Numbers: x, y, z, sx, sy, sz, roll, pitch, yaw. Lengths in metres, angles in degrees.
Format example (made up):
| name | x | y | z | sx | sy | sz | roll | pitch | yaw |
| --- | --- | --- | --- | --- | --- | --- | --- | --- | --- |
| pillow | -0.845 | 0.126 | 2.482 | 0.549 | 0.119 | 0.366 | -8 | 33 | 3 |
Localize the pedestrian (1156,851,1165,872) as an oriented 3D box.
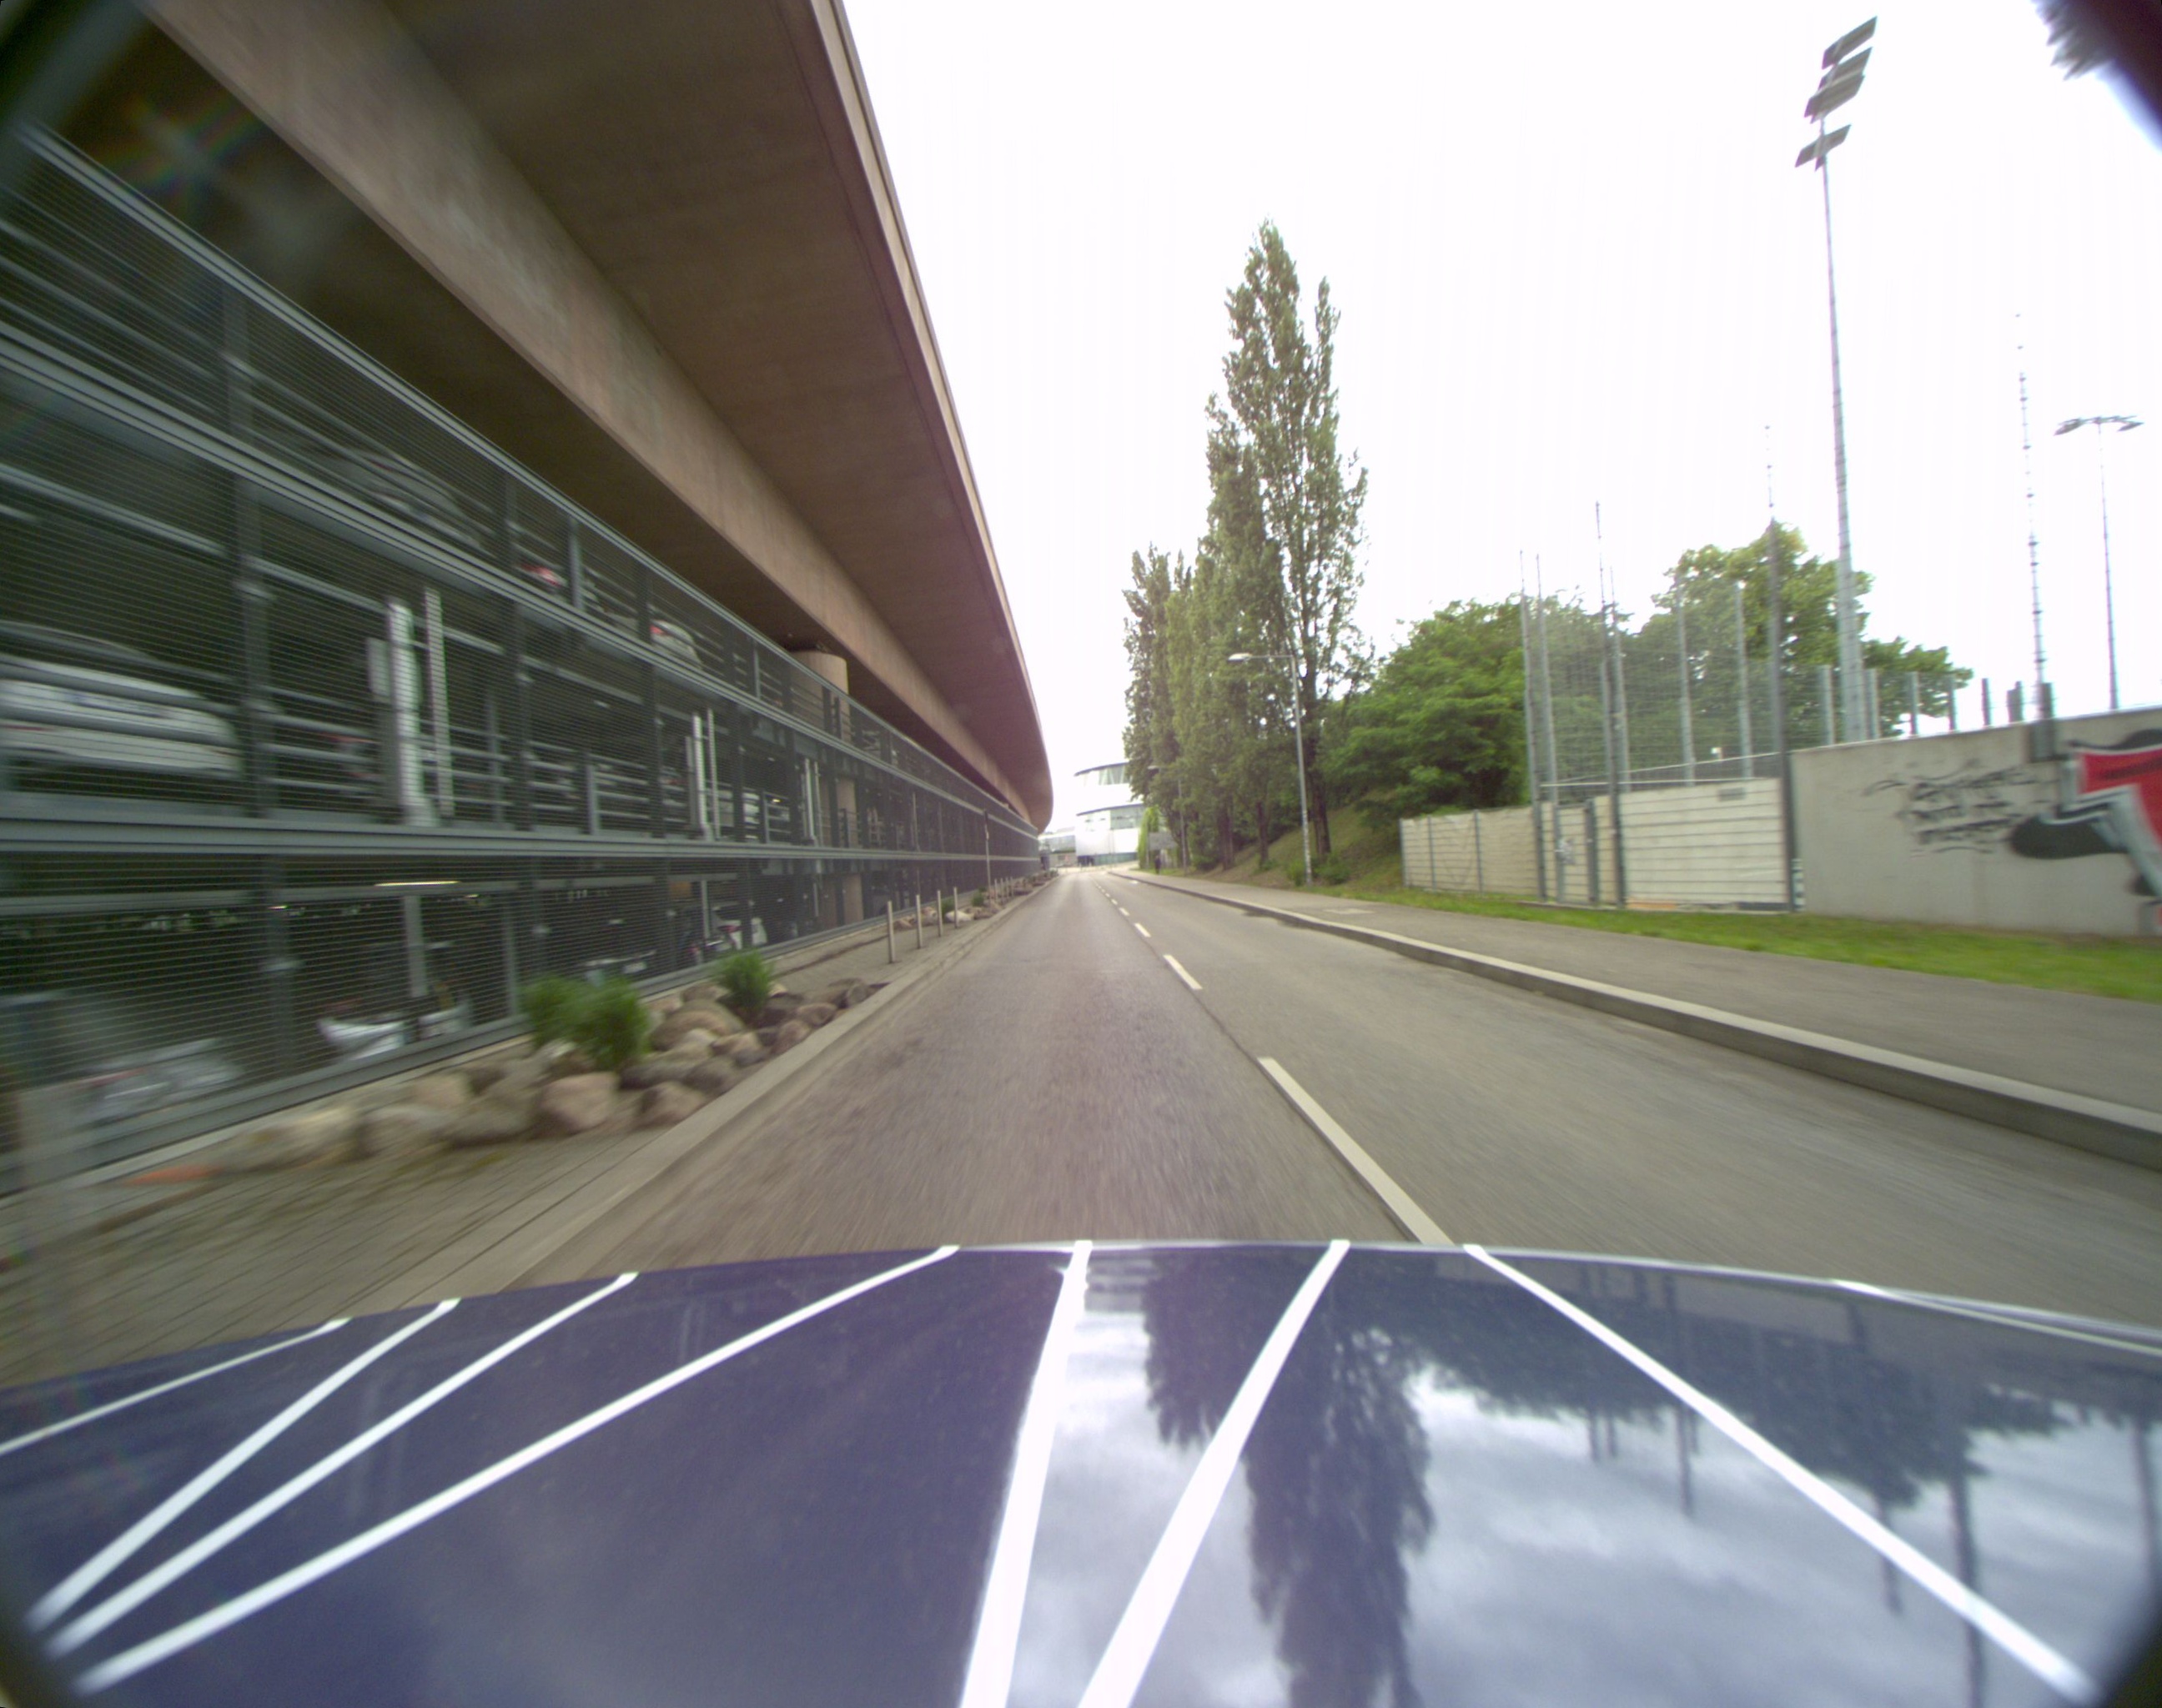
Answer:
| name | x | y | z | sx | sy | sz | roll | pitch | yaw |
| --- | --- | --- | --- | --- | --- | --- | --- | --- | --- |
| pedestrian | 7.474 | 0.682 | 71.275 | 0.662 | 1.882 | 0.736 | -2 | 1 | 0 |
